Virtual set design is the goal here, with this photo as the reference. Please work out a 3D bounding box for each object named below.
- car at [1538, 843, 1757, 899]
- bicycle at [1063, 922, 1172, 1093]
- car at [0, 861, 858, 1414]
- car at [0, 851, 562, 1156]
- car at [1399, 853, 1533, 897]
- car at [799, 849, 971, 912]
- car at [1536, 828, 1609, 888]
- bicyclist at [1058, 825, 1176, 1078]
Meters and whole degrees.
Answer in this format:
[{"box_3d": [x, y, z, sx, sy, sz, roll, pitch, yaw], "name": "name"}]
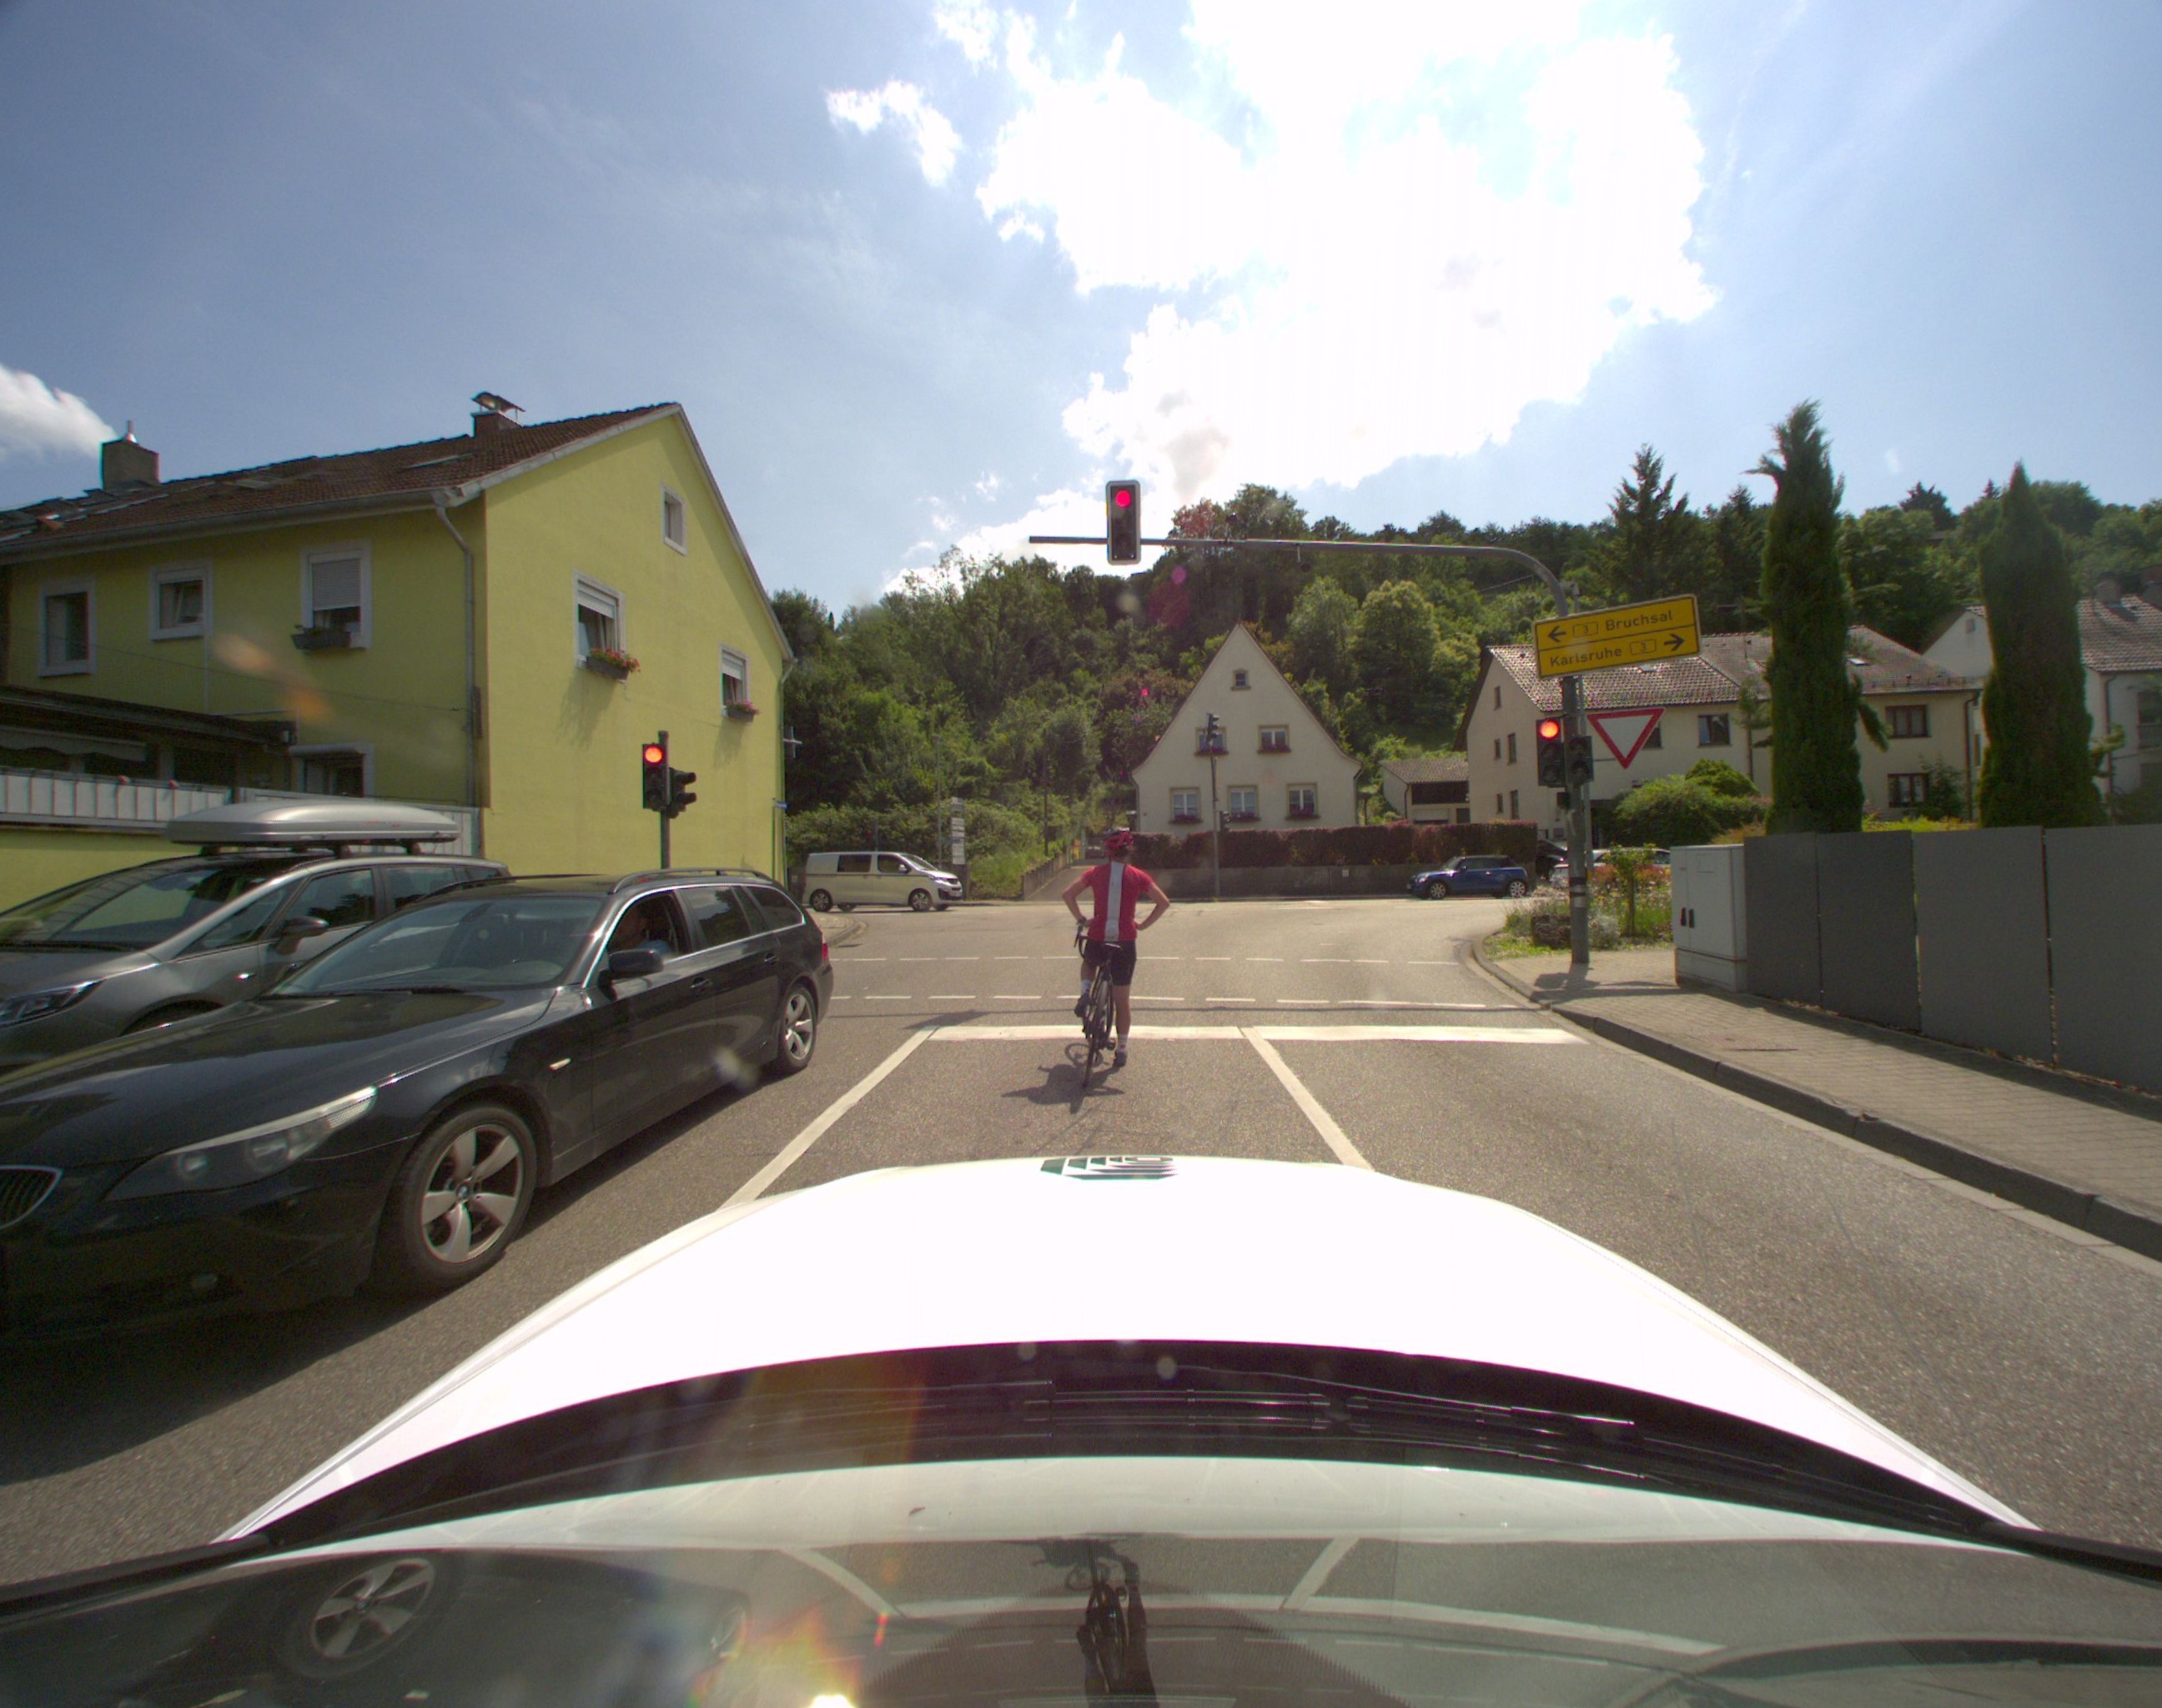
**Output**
[{"box_3d": [15.704, 0.497, 22.829, 4.637, 1.427, 1.932, -1, -2, 8], "name": "car"}, {"box_3d": [0.207, 1.006, 5.821, 0.628, 0.905, 1.655, 0, 0, -3], "name": "bicycle"}, {"box_3d": [-3.014, 0.828, 4.591, 1.855, 1.442, 4.676, -3, 0, 4], "name": "car"}, {"box_3d": [-6.705, 0.800, 6.534, 1.986, 1.635, 4.632, 0, 0, 2], "name": "car"}, {"box_3d": [12.502, 0.710, 26.629, 3.590, 1.363, 1.647, -1, -3, 6], "name": "car"}, {"box_3d": [-6.132, 0.865, 25.708, 4.843, 1.822, 2.005, -1, -2, 10], "name": "car"}, {"box_3d": [18.851, 0.114, 31.405, 1.780, 1.388, 3.709, -1, 13, 21], "name": "car"}, {"box_3d": [0.228, 0.640, 5.817, 0.759, 1.664, 0.868, 0, 0, -3], "name": "bicyclist"}]
